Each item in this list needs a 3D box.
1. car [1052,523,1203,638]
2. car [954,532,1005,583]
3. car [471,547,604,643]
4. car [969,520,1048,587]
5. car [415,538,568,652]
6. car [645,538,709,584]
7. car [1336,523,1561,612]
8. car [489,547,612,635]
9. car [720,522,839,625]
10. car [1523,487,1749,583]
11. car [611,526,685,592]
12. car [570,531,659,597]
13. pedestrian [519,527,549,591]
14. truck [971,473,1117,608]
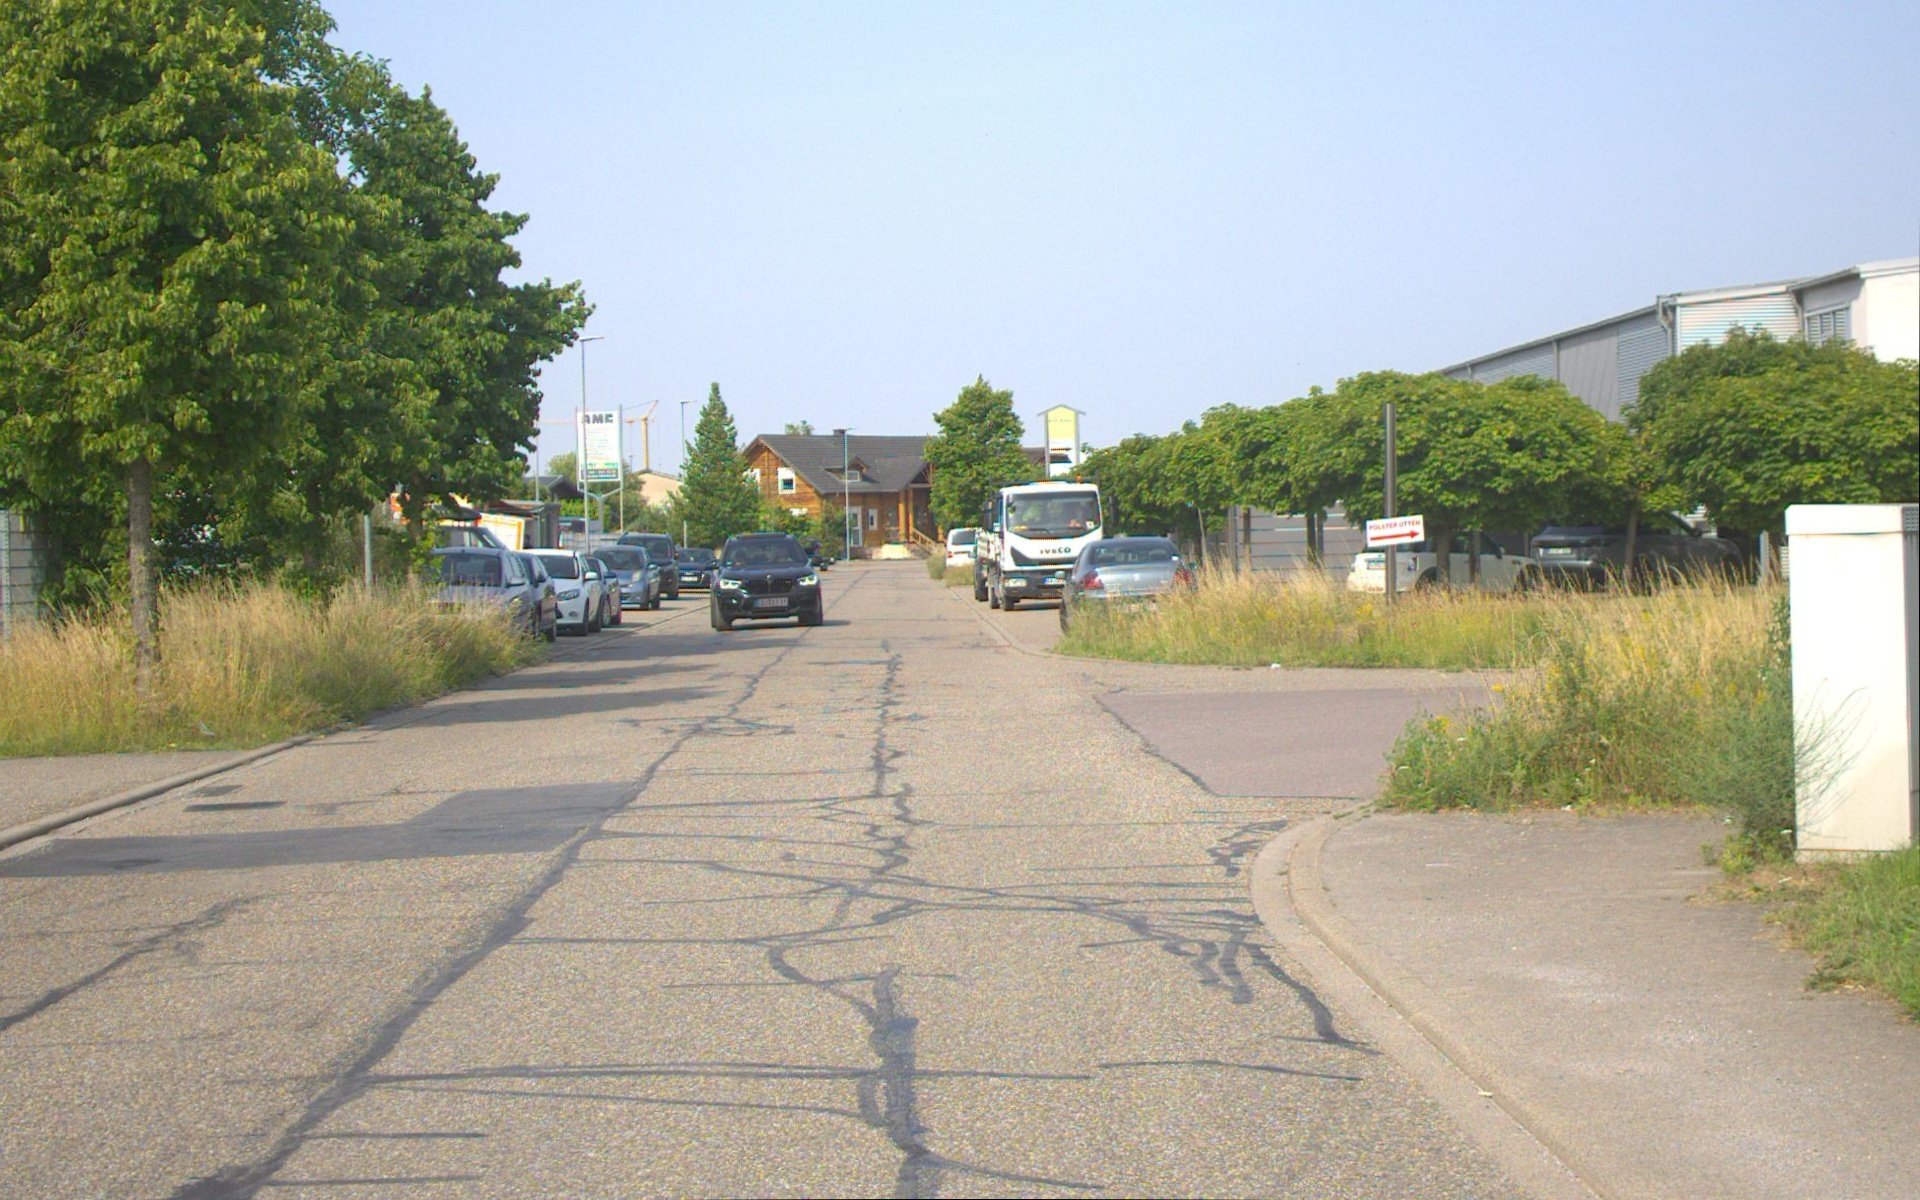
[{"bbox_3d":[2.338,-0.309,48.996,1.794,1.512,4.424,-2,1,-1],"label":"car"},{"bbox_3d":[0.751,-1.684,134.962,1.837,1.917,3.756,-2,1,-1],"label":"car"},{"bbox_3d":[-6.631,-0.103,54.290,1.578,1.438,3.963,0,1,0],"label":"car"},{"bbox_3d":[1.167,-1.164,84.965,1.794,1.555,4.000,-2,1,-1],"label":"car"},{"bbox_3d":[-6.692,-0.102,49.411,1.566,1.533,3.688,-2,1,2],"label":"car"},{"bbox_3d":[-8.885,-1.237,108.169,1.799,1.382,3.638,1,1,-2],"label":"car"},{"bbox_3d":[8.227,-0.551,57.778,3.687,1.375,1.687,-3,2,-40],"label":"car"},{"bbox_3d":[-7.047,-0.182,59.470,1.683,1.464,4.254,0,1,-1],"label":"car"},{"bbox_3d":[-3.218,-0.501,61.980,1.856,1.709,4.227,-3,1,0],"label":"car"},{"bbox_3d":[12.033,-1.174,61.045,1.686,1.583,4.522,-1,1,45],"label":"car"},{"bbox_3d":[-8.646,-1.154,95.521,1.799,1.768,4.203,1,1,-2],"label":"car"},{"bbox_3d":[-8.162,-0.871,81.472,1.633,1.512,3.605,0,1,2],"label":"car"},{"bbox_3d":[-11.485,-1.103,92.744,0.562,1.709,0.534,-2,1,-38],"label":"pedestrian"},{"bbox_3d":[1.703,-1.256,72.694,2.359,2.672,6.512,-2,1,-4],"label":"truck"}]
